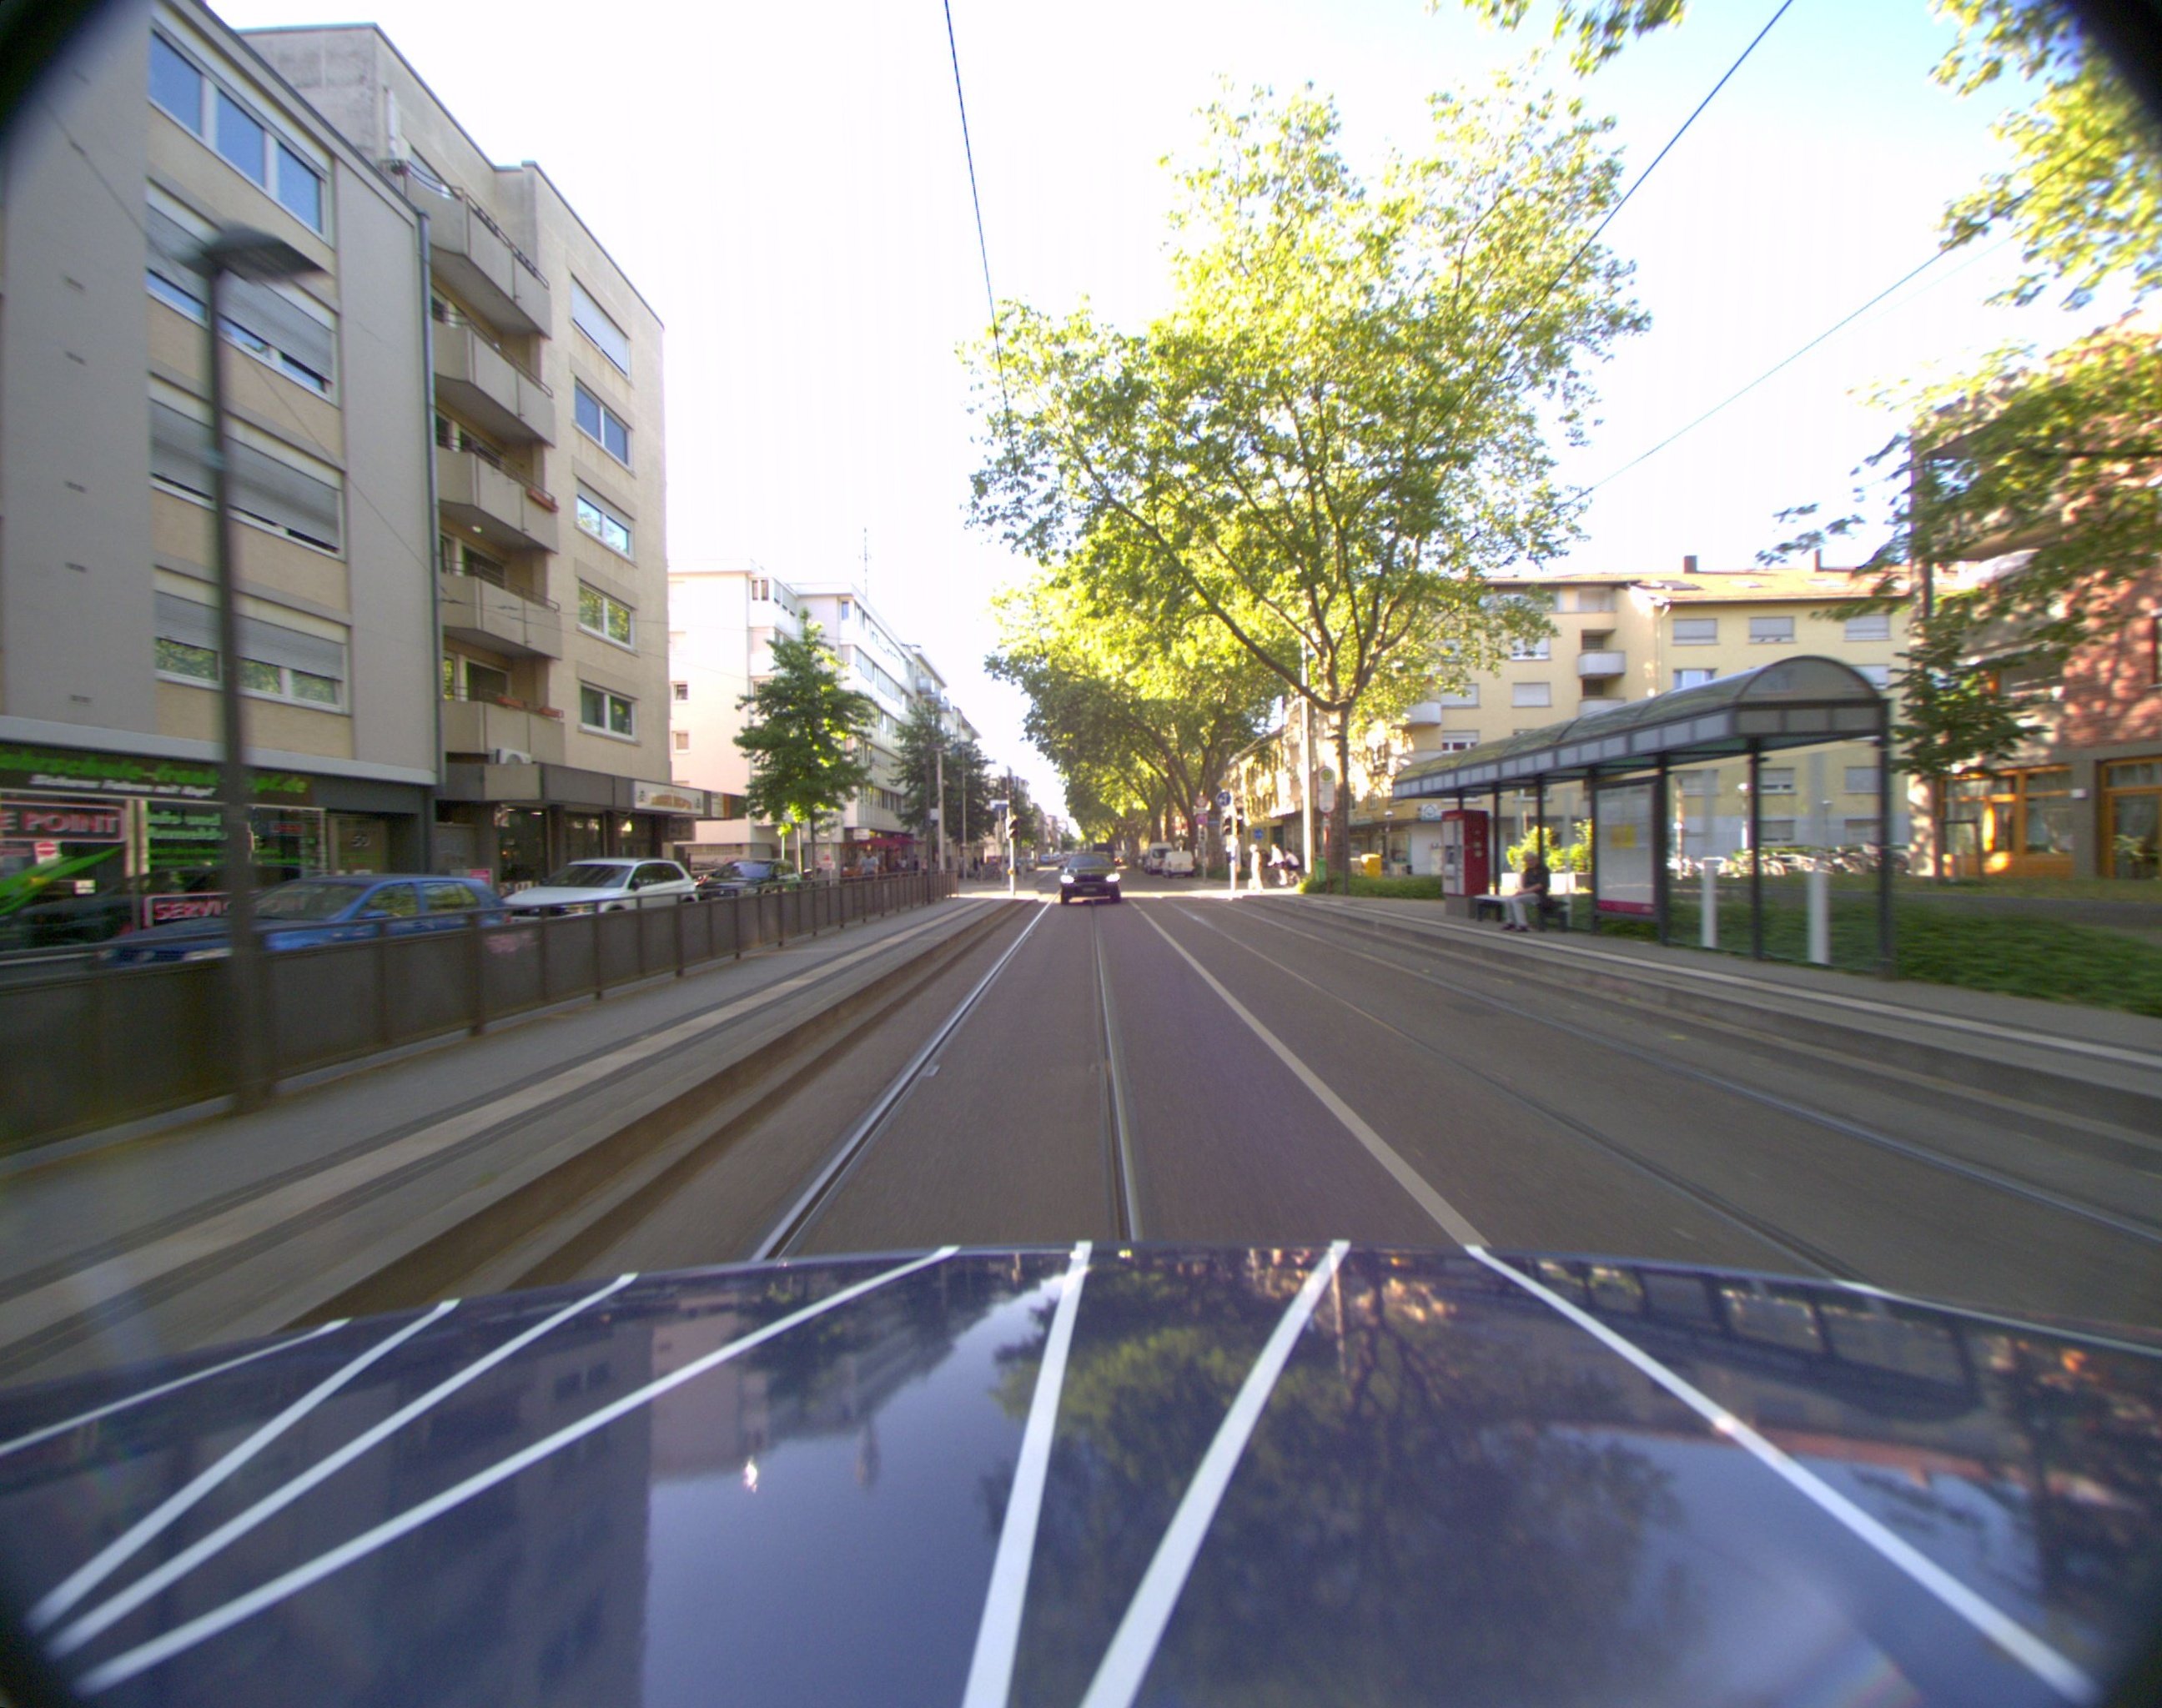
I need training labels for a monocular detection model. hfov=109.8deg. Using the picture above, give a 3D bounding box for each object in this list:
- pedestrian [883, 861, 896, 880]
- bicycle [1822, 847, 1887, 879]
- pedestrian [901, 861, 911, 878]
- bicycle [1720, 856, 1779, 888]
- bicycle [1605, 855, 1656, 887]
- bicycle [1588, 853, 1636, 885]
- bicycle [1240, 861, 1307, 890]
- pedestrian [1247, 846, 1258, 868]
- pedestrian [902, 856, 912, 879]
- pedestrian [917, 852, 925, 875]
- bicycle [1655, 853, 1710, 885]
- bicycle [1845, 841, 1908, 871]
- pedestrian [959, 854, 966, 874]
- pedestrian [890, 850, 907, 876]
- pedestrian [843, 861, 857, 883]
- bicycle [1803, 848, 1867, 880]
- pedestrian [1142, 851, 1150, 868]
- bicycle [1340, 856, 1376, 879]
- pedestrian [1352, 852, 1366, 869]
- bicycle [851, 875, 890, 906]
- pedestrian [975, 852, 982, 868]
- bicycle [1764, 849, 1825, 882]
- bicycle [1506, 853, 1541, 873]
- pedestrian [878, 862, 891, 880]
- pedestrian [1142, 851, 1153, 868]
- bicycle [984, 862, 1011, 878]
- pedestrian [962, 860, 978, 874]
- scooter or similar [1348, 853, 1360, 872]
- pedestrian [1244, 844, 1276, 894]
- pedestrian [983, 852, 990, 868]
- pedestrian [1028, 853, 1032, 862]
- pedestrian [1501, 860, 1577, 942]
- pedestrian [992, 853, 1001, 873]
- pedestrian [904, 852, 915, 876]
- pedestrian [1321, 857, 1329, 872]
[{"bbox_3d":[-12.437,1.079,49.259,0.660,1.168,0.522,-2,1,-1],"label":"pedestrian"},{"bbox_3d":[26.759,0.296,26.315,0.543,1.078,1.638,-2,1,-1],"label":"bicycle"},{"bbox_3d":[-12.940,1.155,56.212,0.510,1.269,0.624,-3,1,-37],"label":"pedestrian"},{"bbox_3d":[23.257,0.623,26.468,0.543,1.078,1.639,-1,0,-1],"label":"bicycle"},{"bbox_3d":[19.232,0.606,26.638,0.543,1.077,1.639,-2,-2,-1],"label":"bicycle"},{"bbox_3d":[18.601,0.542,26.640,0.543,1.077,1.537,-2,-2,-1],"label":"bicycle"},{"bbox_3d":[8.148,0.909,32.237,2.589,1.184,0.786,-1,1,36],"label":"bicycle"},{"bbox_3d":[15.185,0.264,67.208,0.746,1.859,0.863,-2,1,-2],"label":"pedestrian"},{"bbox_3d":[-12.877,0.997,56.123,0.508,1.619,0.517,-3,1,-37],"label":"pedestrian"},{"bbox_3d":[-12.528,0.769,59.391,0.432,1.786,0.489,-2,1,-1],"label":"pedestrian"},{"bbox_3d":[20.926,0.524,26.476,0.543,1.077,1.639,-2,-1,-1],"label":"bicycle"},{"bbox_3d":[29.015,0.064,27.749,0.543,1.078,1.638,-2,1,-1],"label":"bicycle"},{"bbox_3d":[-10.460,0.871,67.052,0.592,1.774,0.994,-2,1,-8],"label":"pedestrian"},{"bbox_3d":[-12.093,0.595,50.364,0.813,1.649,0.679,-2,1,4],"label":"pedestrian"},{"bbox_3d":[-13.714,1.046,45.161,0.536,1.280,0.715,-2,1,2],"label":"pedestrian"},{"bbox_3d":[26.032,0.328,26.271,0.543,1.078,1.638,-2,1,-1],"label":"bicycle"},{"bbox_3d":[6.699,0.568,78.398,0.770,1.767,0.714,-2,1,8],"label":"pedestrian"},{"bbox_3d":[14.456,0.674,39.728,0.784,1.104,2.595,-2,1,-2],"label":"bicycle"},{"bbox_3d":[17.805,0.394,48.636,0.580,1.041,0.711,-2,1,-1],"label":"pedestrian"},{"bbox_3d":[-7.368,1.259,26.693,0.790,0.932,1.939,-2,1,1],"label":"bicycle"},{"bbox_3d":[-10.907,0.641,80.854,0.597,1.668,0.934,1,1,-2],"label":"pedestrian"},{"bbox_3d":[24.689,0.382,26.310,0.543,1.078,1.638,-2,1,-1],"label":"bicycle"},{"bbox_3d":[25.153,0.492,43.160,1.637,1.078,0.543,-1,0,2],"label":"bicycle"},{"bbox_3d":[-12.222,1.080,47.181,0.643,1.072,0.522,-2,1,-1],"label":"pedestrian"},{"bbox_3d":[6.942,0.593,79.405,0.768,1.725,0.715,-1,2,42],"label":"pedestrian"},{"bbox_3d":[-5.792,1.126,52.851,1.820,1.094,0.525,-1,1,0],"label":"bicycle"},{"bbox_3d":[-8.792,1.021,60.335,0.999,1.021,0.662,-2,1,18],"label":"pedestrian"},{"bbox_3d":[17.526,0.554,48.731,0.642,1.160,0.676,-1,1,27],"label":"scooter or similar"},{"bbox_3d":[6.789,0.562,28.899,0.926,1.825,0.920,-2,1,-3],"label":"pedestrian"},{"bbox_3d":[-10.072,0.638,80.891,0.643,1.628,0.869,1,0,-1],"label":"pedestrian"},{"bbox_3d":[-10.270,0.695,152.128,0.697,1.685,0.678,-2,1,0],"label":"pedestrian"},{"bbox_3d":[6.747,0.672,11.213,0.707,1.162,0.659,0,1,-3],"label":"pedestrian"},{"bbox_3d":[-8.040,0.840,72.599,0.538,1.841,0.665,-1,1,28],"label":"pedestrian"},{"bbox_3d":[-13.136,0.753,58.217,0.525,1.795,0.633,-1,2,44],"label":"pedestrian"},{"bbox_3d":[17.839,0.754,55.581,0.421,1.099,0.437,-2,1,-10],"label":"pedestrian"}]
